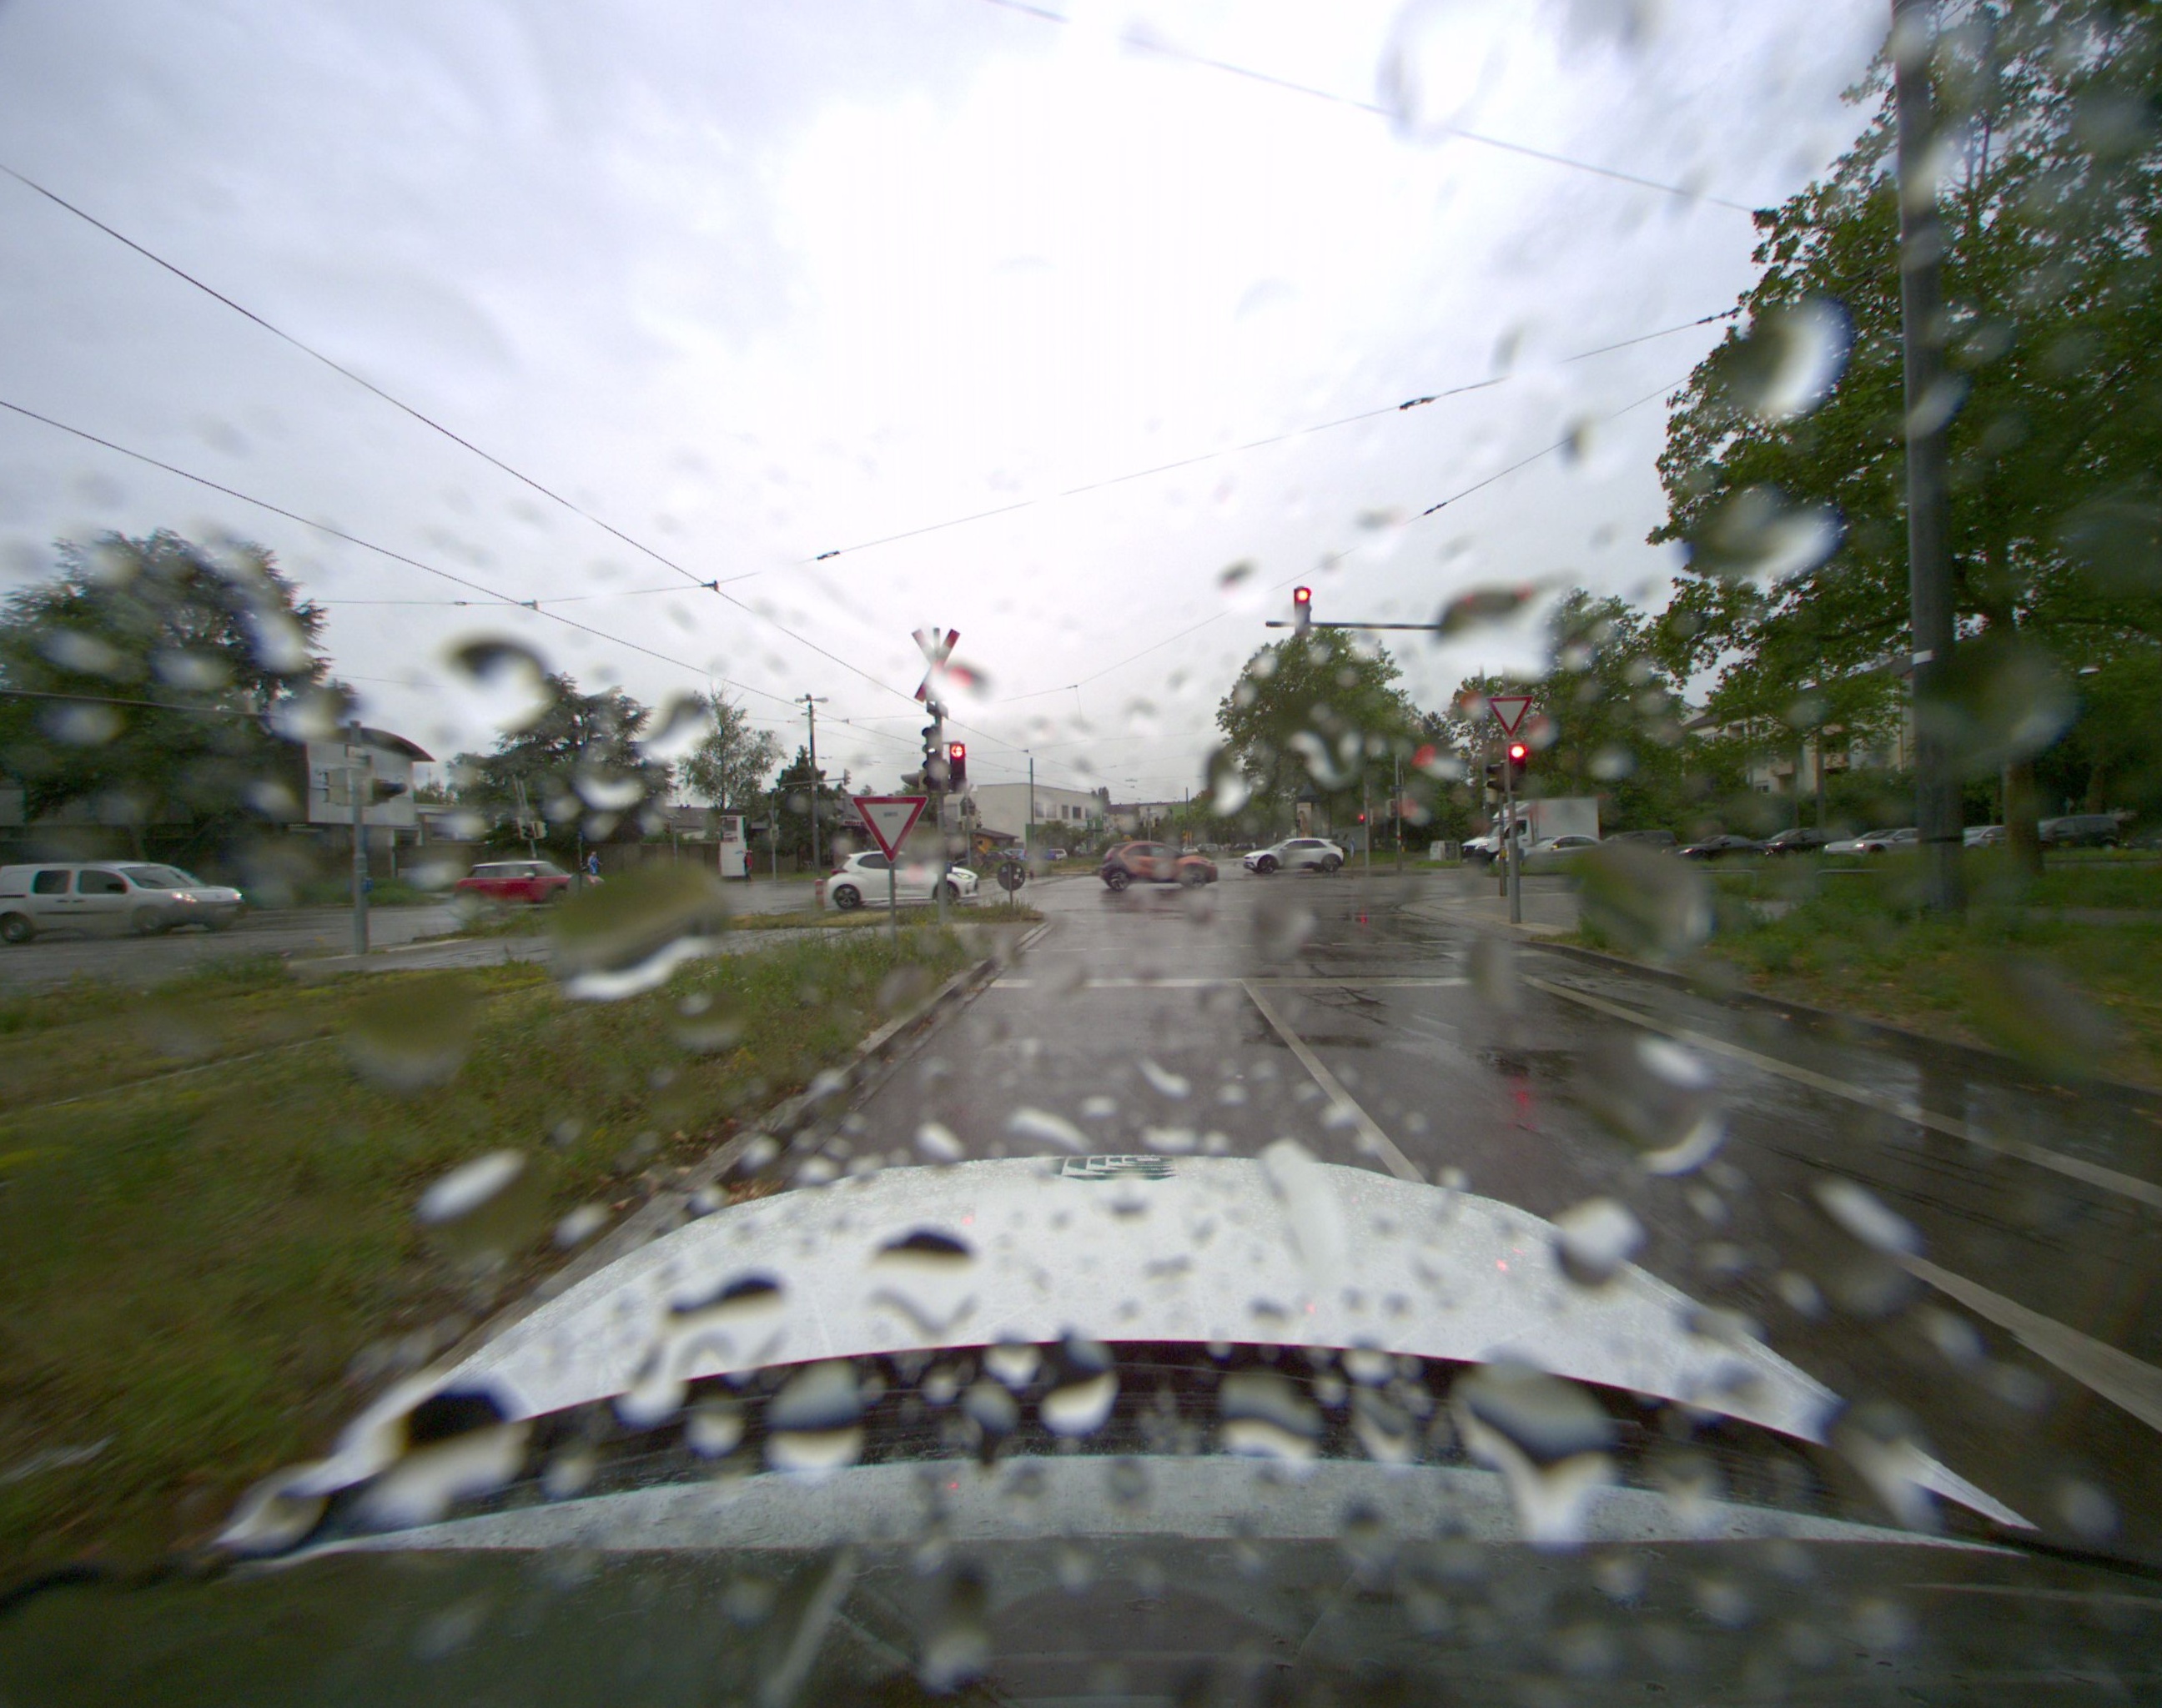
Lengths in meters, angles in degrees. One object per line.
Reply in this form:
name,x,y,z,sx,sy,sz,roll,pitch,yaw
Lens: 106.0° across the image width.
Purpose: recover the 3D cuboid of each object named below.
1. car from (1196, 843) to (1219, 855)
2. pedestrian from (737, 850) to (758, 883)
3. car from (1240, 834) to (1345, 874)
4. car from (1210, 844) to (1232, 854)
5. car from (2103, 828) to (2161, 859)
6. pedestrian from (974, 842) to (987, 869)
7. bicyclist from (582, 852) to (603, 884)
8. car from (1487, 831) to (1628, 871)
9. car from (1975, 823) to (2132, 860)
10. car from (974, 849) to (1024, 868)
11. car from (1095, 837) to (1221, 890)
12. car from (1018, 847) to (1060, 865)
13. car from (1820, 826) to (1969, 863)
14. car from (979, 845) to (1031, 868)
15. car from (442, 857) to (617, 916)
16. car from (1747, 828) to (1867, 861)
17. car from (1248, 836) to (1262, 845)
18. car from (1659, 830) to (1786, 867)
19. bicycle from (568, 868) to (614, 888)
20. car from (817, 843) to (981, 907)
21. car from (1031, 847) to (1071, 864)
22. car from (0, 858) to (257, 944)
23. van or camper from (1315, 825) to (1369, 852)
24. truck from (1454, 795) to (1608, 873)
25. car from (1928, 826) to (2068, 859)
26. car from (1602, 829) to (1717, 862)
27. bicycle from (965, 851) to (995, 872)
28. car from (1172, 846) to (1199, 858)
car,23.125,-0.955,148.879,4.111,1.975,1.677,-2,0,8
pedestrian,-18.646,0.695,45.527,0.807,1.763,0.898,-2,0,-43
car,9.848,-0.018,38.051,4.452,1.656,1.650,-2,0,-4
car,27.093,-0.989,158.021,4.111,1.860,1.677,-2,0,8
car,52.507,-0.525,39.146,4.648,1.422,1.765,-2,0,-1
pedestrian,-5.527,0.095,44.862,0.573,1.475,0.501,-2,0,5
bicyclist,-25.759,0.735,42.942,0.682,1.683,0.641,-2,0,-2
car,18.379,-0.111,31.500,4.498,1.390,1.644,-2,0,-1
car,41.448,-0.542,34.788,4.647,1.422,1.765,-2,0,-1
car,-6.724,0.363,66.735,3.733,1.442,1.765,-2,0,4
car,2.420,0.300,26.125,3.810,1.499,1.650,-2,0,-4
car,-3.853,0.192,75.076,3.743,1.442,1.760,-2,0,-5
car,34.743,-0.417,34.855,4.647,1.422,1.765,-2,0,-1
car,-6.545,0.193,70.190,4.111,1.860,1.677,-2,0,8
car,-16.235,0.921,24.169,3.908,1.498,1.646,-2,1,-11
car,34.465,-0.431,38.724,4.108,1.422,1.765,-2,0,0
car,46.189,-3.566,215.791,3.416,2.013,1.816,-2,0,18
car,27.205,-0.230,34.608,4.097,1.390,1.644,-2,0,-1
bicycle,-25.827,1.242,42.921,1.953,0.966,0.641,-2,0,-3
car,-4.789,0.540,21.923,4.059,1.499,1.649,-2,0,-5
car,-2.868,0.143,78.338,3.743,1.442,1.760,-2,0,-5
car,-22.804,1.077,19.420,4.206,1.796,1.648,-2,1,-8
van or camper,26.908,-1.613,83.819,5.177,2.697,2.255,0,1,20
truck,19.089,-0.827,34.687,5.452,3.058,1.980,-1,0,-1
car,42.853,-0.531,38.109,4.648,1.422,1.765,-2,0,-1
car,27.277,-0.391,38.497,4.186,1.422,1.766,-2,0,0
bicycle,-5.549,0.421,44.856,1.554,1.101,0.501,-2,0,5
car,16.849,-0.297,131.182,4.125,1.860,1.672,-2,0,-3
